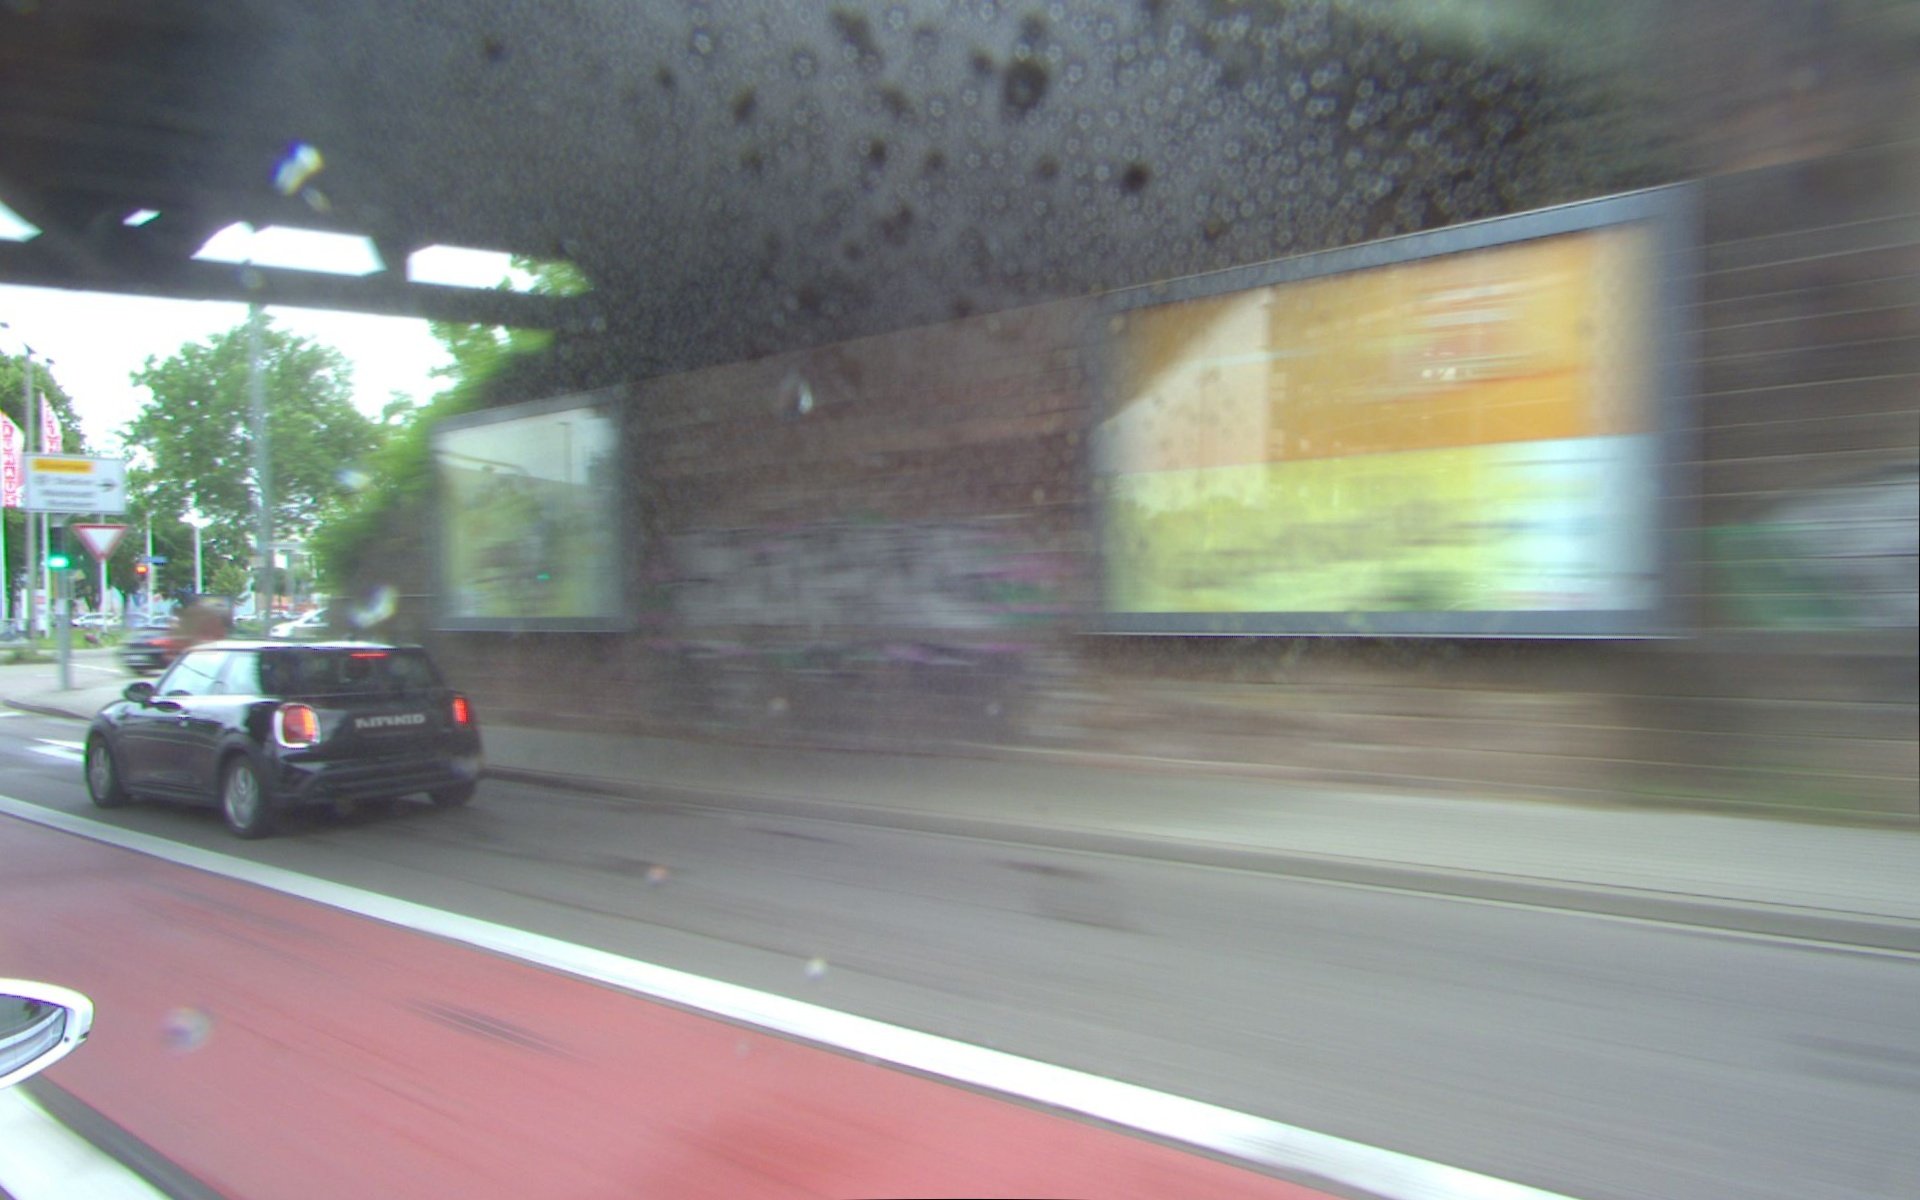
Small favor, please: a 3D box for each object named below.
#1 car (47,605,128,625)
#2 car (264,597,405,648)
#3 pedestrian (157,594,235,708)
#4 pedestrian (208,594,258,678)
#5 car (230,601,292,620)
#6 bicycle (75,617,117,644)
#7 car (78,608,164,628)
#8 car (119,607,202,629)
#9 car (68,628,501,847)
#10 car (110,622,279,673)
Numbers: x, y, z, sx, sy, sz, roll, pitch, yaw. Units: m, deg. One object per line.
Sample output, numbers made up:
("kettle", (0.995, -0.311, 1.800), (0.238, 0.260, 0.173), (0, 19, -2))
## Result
("car", (-69.869, 1.239, 80.284), (1.929, 1.516, 4.529), (-1, -2, 27))
("car", (-24.081, 0.855, 38.751), (4.351, 1.852, 1.874), (-1, -1, -25))
("pedestrian", (-12.388, 0.805, 16.272), (0.861, 1.783, 0.783), (-1, 1, -29))
("pedestrian", (-14.836, 0.717, 20.438), (0.736, 1.662, 0.771), (-1, 1, -41))
("car", (-69.676, 1.036, 99.869), (2.121, 1.699, 4.549), (-1, 1, 27))
("bicycle", (-39.685, 1.387, 46.030), (0.479, 1.133, 1.806), (-1, 1, -6))
("car", (-64.871, 1.433, 77.489), (2.138, 1.516, 4.669), (-1, -2, 30))
("car", (-59.270, 1.359, 74.324), (1.901, 1.516, 4.442), (-1, -2, 27))
("car", (-5.759, 0.979, 8.449), (3.720, 1.450, 1.676), (-1, -1, 32))
("car", (-21.005, 1.262, 27.640), (1.623, 1.297, 3.414), (0, -1, 18))
